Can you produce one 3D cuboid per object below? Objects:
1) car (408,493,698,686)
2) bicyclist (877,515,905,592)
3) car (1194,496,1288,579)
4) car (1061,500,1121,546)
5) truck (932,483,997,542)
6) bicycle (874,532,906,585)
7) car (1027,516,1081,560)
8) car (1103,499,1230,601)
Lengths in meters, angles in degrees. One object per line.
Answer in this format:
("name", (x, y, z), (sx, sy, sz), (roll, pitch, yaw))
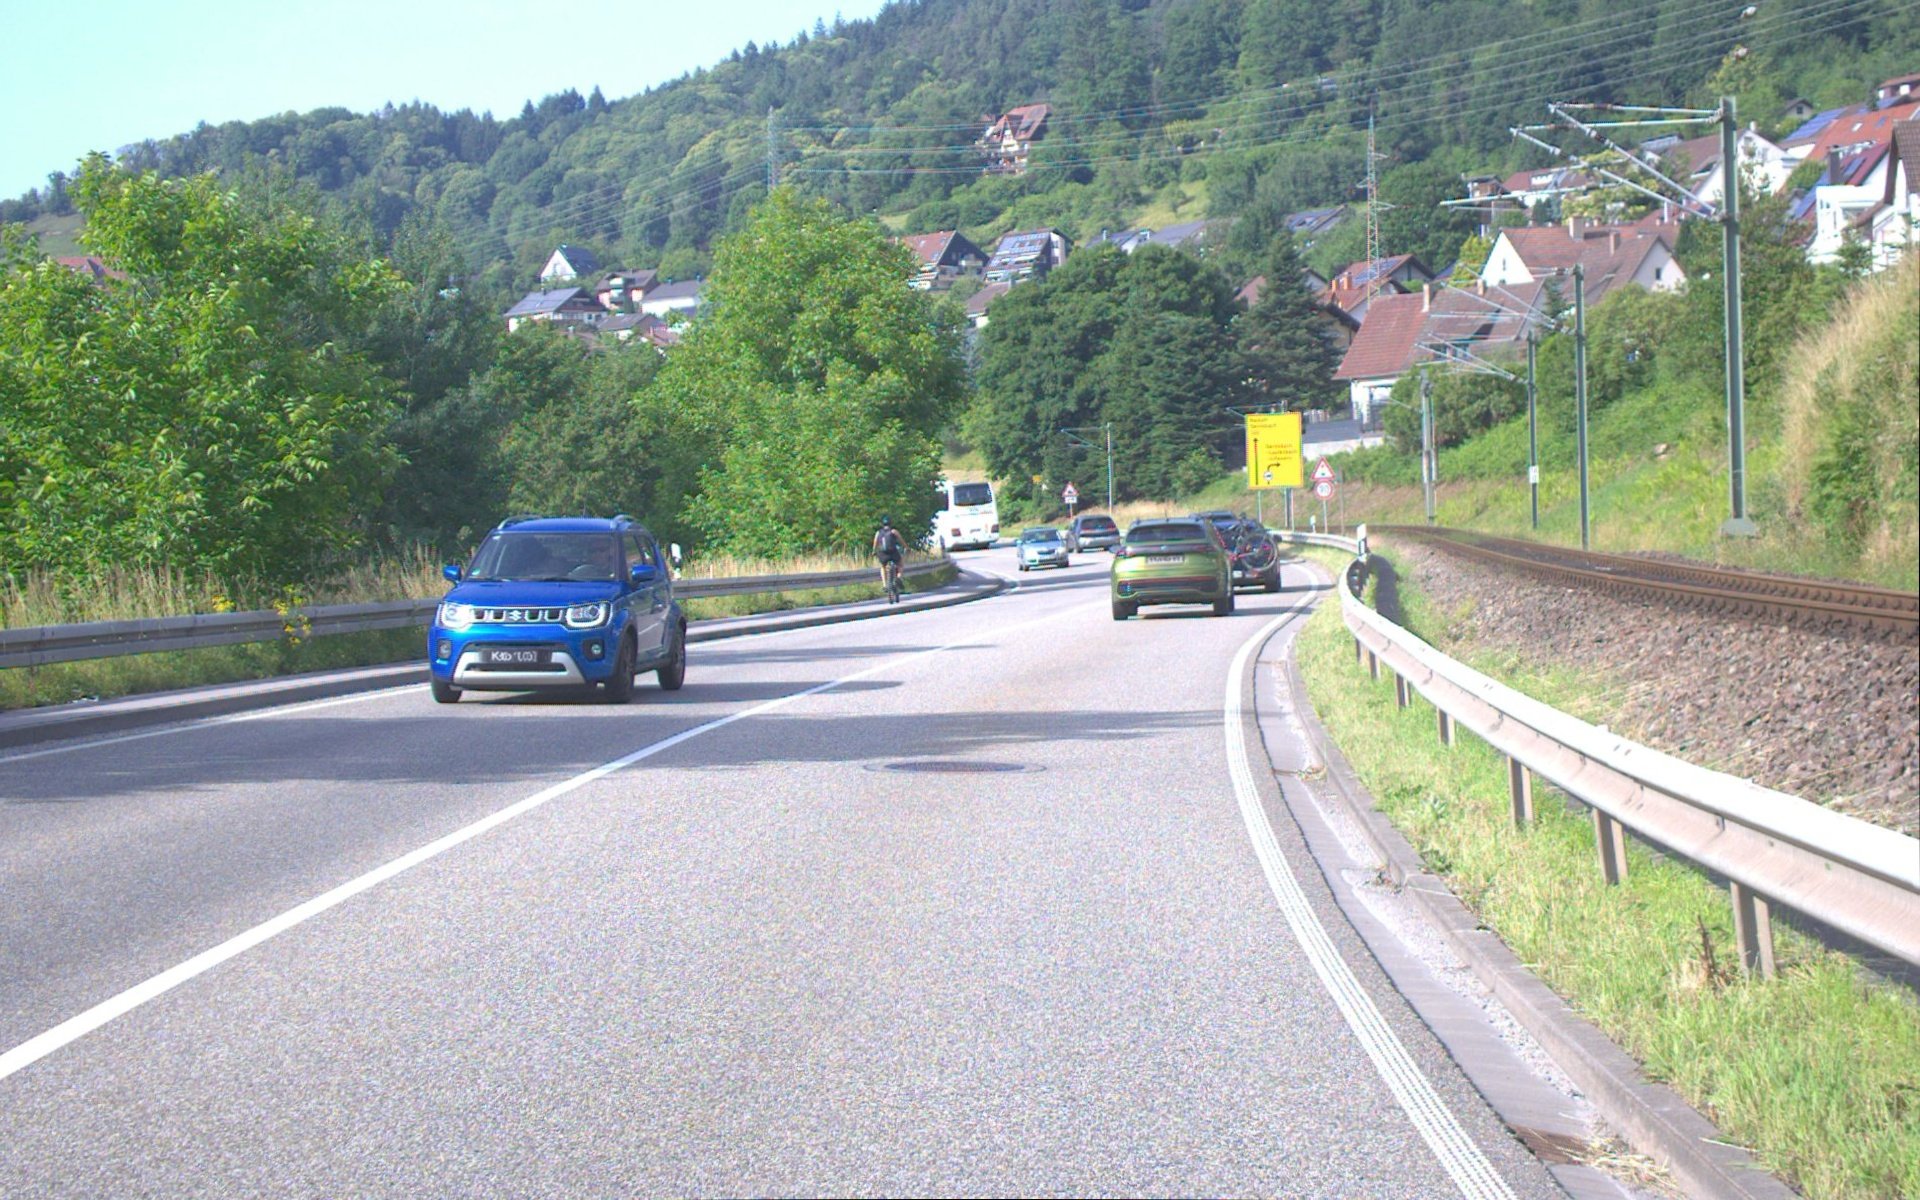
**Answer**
("car", (-3.466, -0.131, 29.965), (1.751, 1.561, 4.000), (0, 1, 5))
("bicyclist", (-1.441, -0.979, 71.501), (0.557, 1.581, 1.036), (0, 2, -2))
("car", (5.438, -1.219, 66.256), (1.667, 1.554, 3.999), (0, 2, 7))
("car", (5.689, -3.331, 149.727), (2.063, 1.805, 4.001), (-3, 0, -4))
("truck", (0.232, -4.661, 182.784), (2.711, 3.073, 6.110), (0, 2, -7))
("bicycle", (-1.462, -0.869, 71.546), (0.557, 1.042, 2.230), (0, 2, -4))
("car", (3.397, -2.249, 123.796), (1.578, 1.474, 3.999), (3, 2, 6))
("car", (3.098, -0.772, 52.173), (1.715, 1.450, 4.000), (-1, 1, 1))
